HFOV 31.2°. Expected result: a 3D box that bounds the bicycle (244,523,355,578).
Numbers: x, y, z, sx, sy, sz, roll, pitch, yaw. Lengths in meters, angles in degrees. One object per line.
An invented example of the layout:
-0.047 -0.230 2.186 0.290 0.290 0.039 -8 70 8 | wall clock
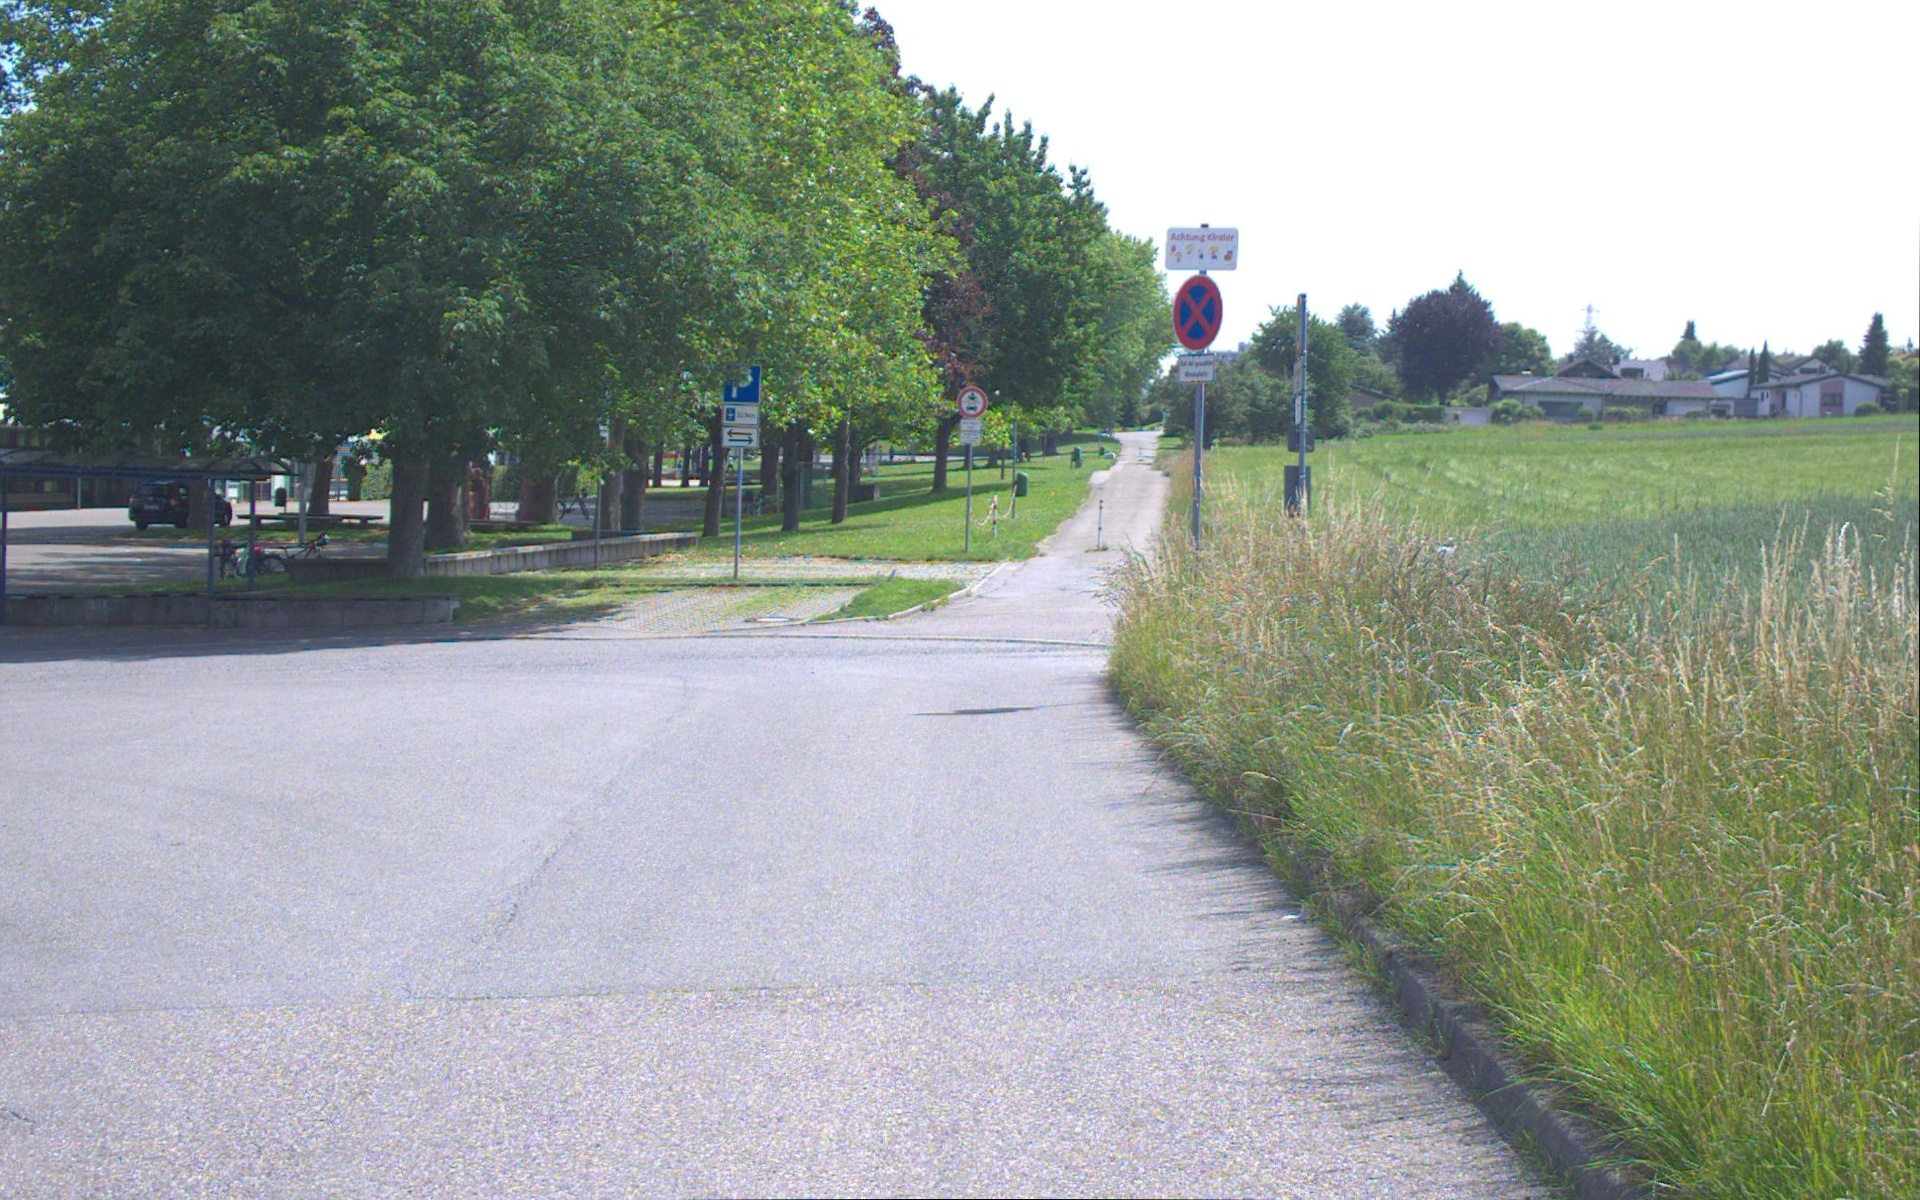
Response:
-12.863 -0.964 67.017 2.062 1.035 0.572 -1 2 -5 | bicycle

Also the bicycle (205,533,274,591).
-13.616 -0.735 65.040 0.595 1.035 1.892 0 2 10 | bicycle

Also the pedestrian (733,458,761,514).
-7.643 -4.096 123.355 0.682 2.006 0.803 0 2 -30 | pedestrian

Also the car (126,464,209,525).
-24.012 -3.215 104.255 1.691 1.828 3.411 0 2 1 | car
